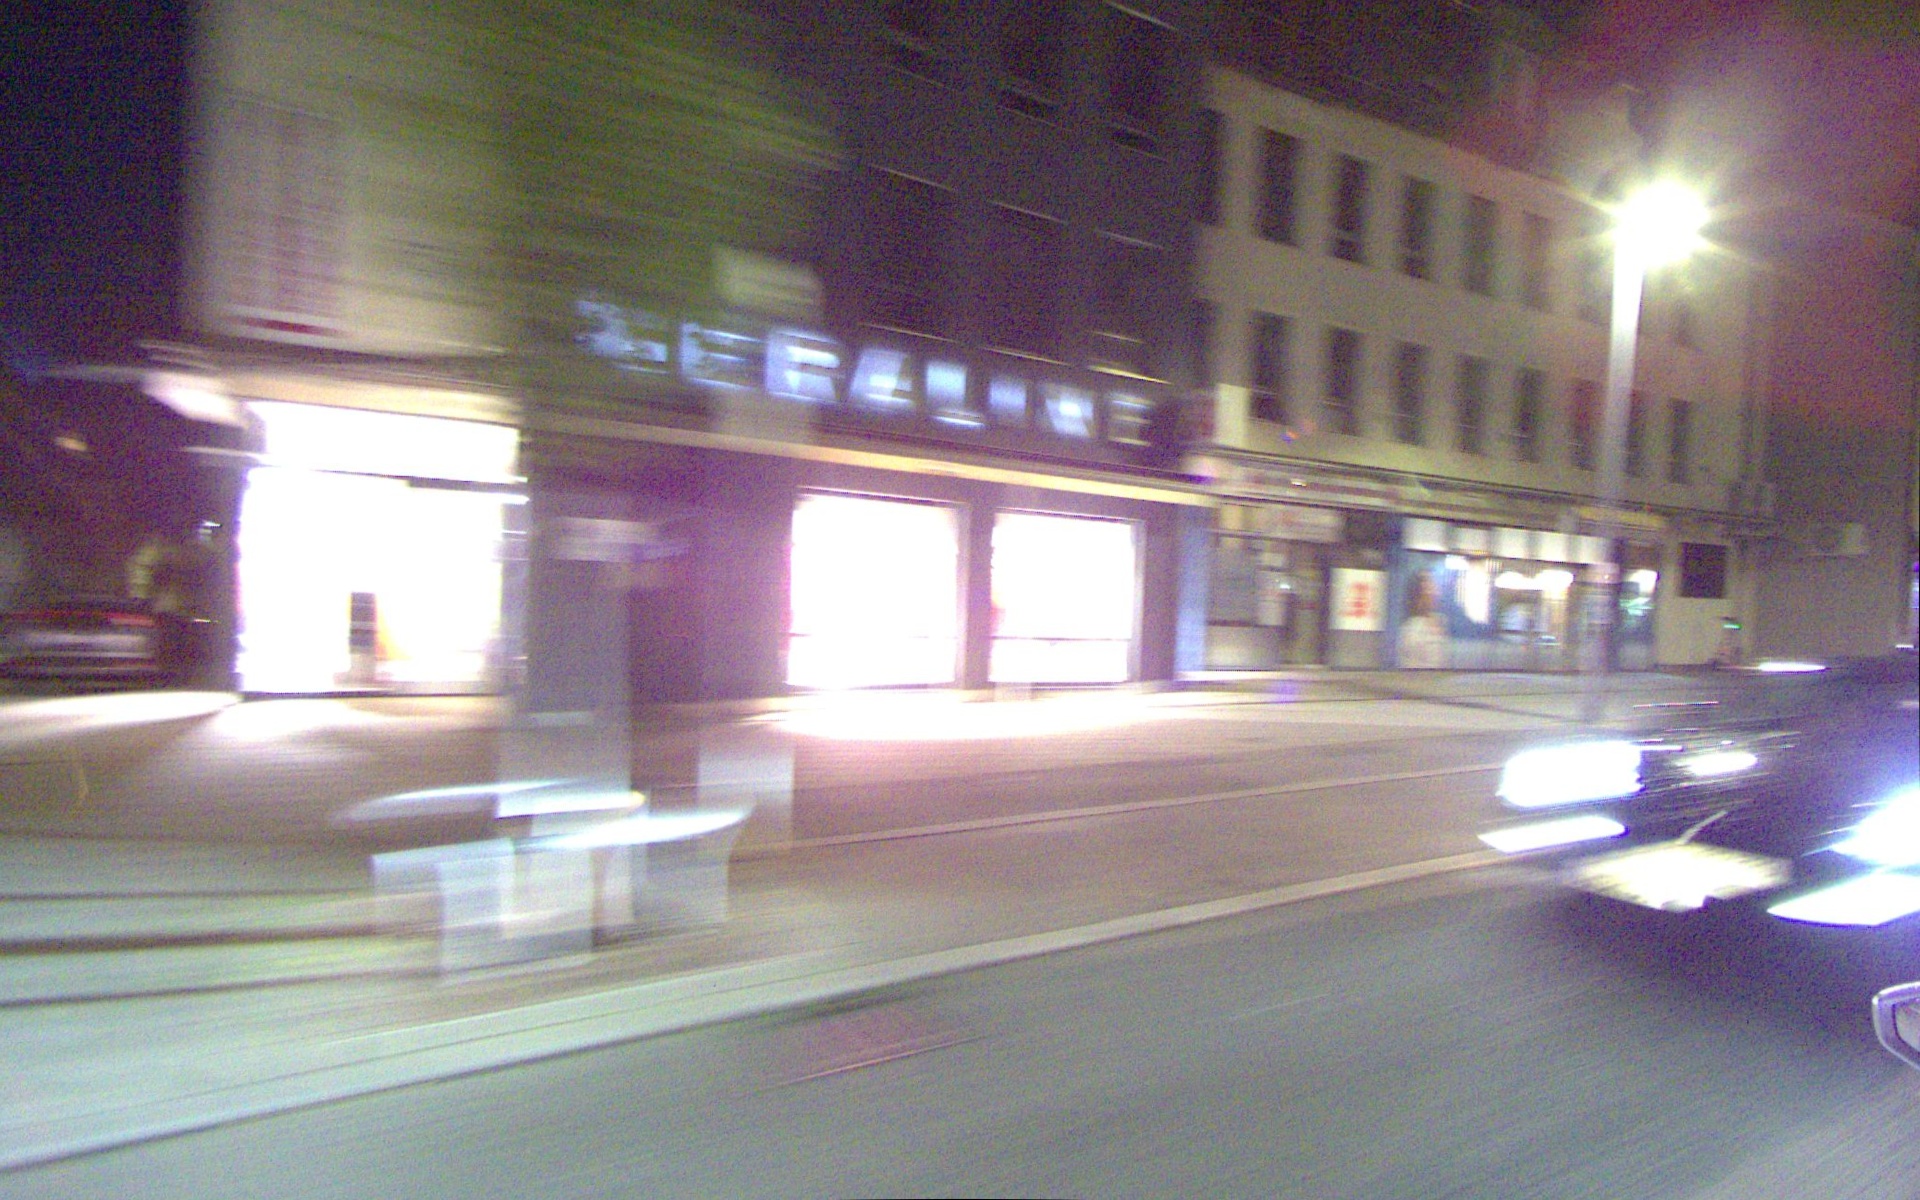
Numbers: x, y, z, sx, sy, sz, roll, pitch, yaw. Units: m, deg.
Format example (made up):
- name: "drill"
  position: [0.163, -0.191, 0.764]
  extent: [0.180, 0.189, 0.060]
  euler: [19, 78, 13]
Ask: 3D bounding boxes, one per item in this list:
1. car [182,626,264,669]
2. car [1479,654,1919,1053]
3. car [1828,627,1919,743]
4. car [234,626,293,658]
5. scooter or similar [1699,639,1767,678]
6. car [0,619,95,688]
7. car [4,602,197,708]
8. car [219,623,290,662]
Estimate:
- name: "car"
  position: [-28.149, 1.827, 38.495]
  extent: [1.873, 1.539, 4.152]
  euler: [3, -3, -28]
- name: "car"
  position: [4.762, 0.968, 5.173]
  extent: [4.186, 1.263, 1.715]
  euler: [1, 0, -30]
- name: "car"
  position: [13.792, 1.089, 13.448]
  extent: [4.403, 1.389, 1.906]
  euler: [1, 0, -29]
- name: "car"
  position: [-35.155, 2.133, 50.807]
  extent: [1.873, 1.539, 4.152]
  euler: [3, -3, -28]
- name: "scooter or similar"
  position: [17.269, 1.297, 22.446]
  extent: [0.519, 0.792, 1.089]
  euler: [1, 0, -32]
- name: "car"
  position: [-22.882, 1.278, 24.498]
  extent: [1.875, 1.539, 4.148]
  euler: [3, -4, -30]
- name: "car"
  position: [-15.082, 0.970, 17.887]
  extent: [1.970, 1.643, 4.144]
  euler: [3, -4, -33]
- name: "car"
  position: [-30.179, 1.825, 43.085]
  extent: [1.873, 1.539, 4.152]
  euler: [3, -3, -28]
